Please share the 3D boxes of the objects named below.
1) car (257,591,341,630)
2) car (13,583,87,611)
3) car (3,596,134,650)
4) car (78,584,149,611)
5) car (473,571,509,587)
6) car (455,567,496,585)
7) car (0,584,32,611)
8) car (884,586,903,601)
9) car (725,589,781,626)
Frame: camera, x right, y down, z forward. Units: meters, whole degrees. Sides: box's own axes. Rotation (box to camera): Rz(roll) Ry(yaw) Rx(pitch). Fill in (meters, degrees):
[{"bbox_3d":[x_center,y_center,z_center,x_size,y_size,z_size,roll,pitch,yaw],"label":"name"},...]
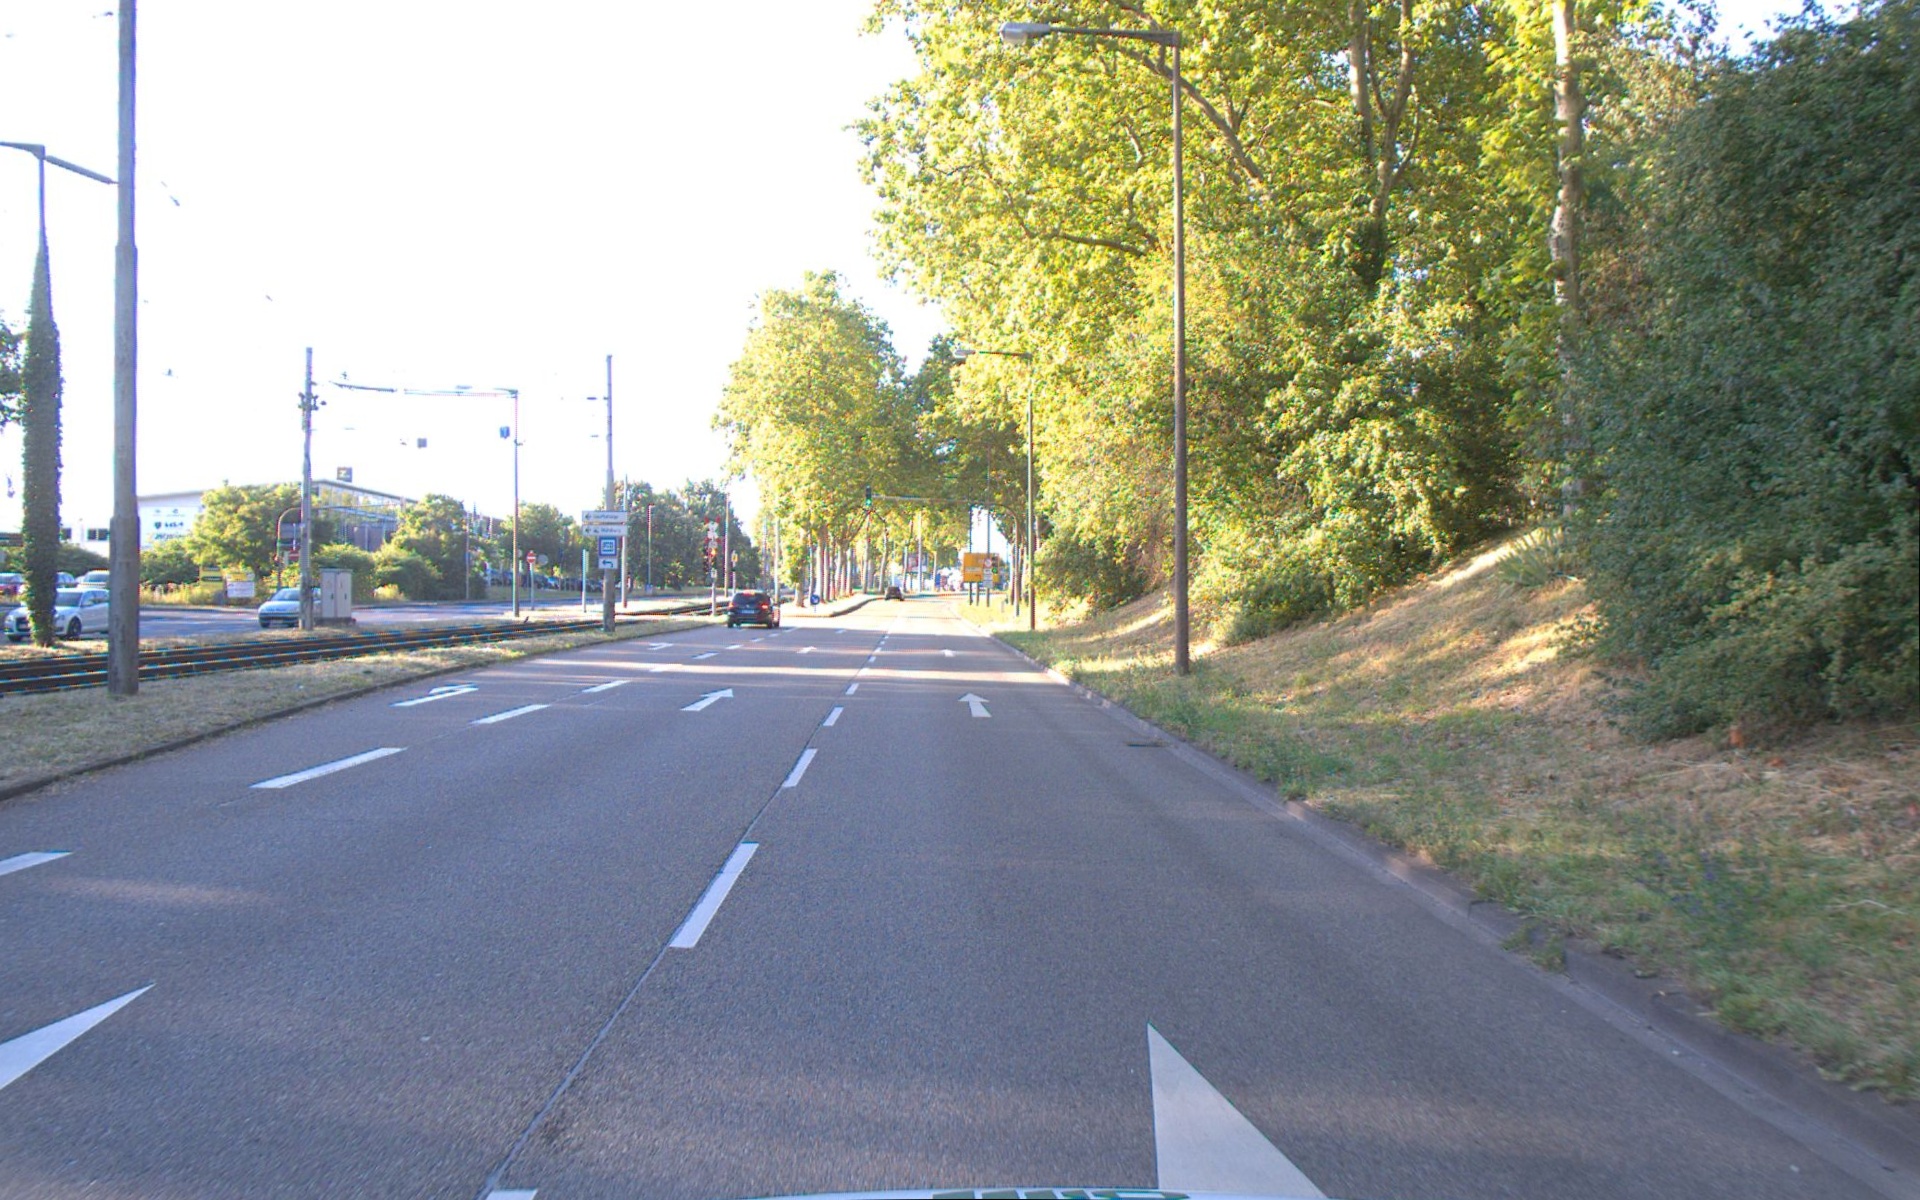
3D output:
[{"bbox_3d":[-25.586,0.391,64.152,1.620,1.440,4.257,0,0,-2],"label":"car"},{"bbox_3d":[-50.664,-0.159,92.167,1.803,1.467,4.001,1,0,1],"label":"car"},{"bbox_3d":[-25.473,0.621,47.426,1.620,1.440,4.256,0,0,-3],"label":"car"},{"bbox_3d":[-47.428,-0.131,92.758,1.803,1.467,4.001,1,0,1],"label":"car"},{"bbox_3d":[-44.933,-2.005,158.471,3.081,1.416,1.454,1,0,-5],"label":"car"},{"bbox_3d":[-41.162,-2.029,140.633,3.081,1.416,1.454,1,0,-5],"label":"car"},{"bbox_3d":[-53.889,-0.156,92.390,1.803,1.467,4.001,1,0,1],"label":"car"},{"bbox_3d":[-6.684,-0.646,165.537,1.756,1.427,3.688,1,0,-1],"label":"car"},{"bbox_3d":[-8.168,0.293,65.537,1.756,1.427,3.688,0,0,-1],"label":"car"}]
